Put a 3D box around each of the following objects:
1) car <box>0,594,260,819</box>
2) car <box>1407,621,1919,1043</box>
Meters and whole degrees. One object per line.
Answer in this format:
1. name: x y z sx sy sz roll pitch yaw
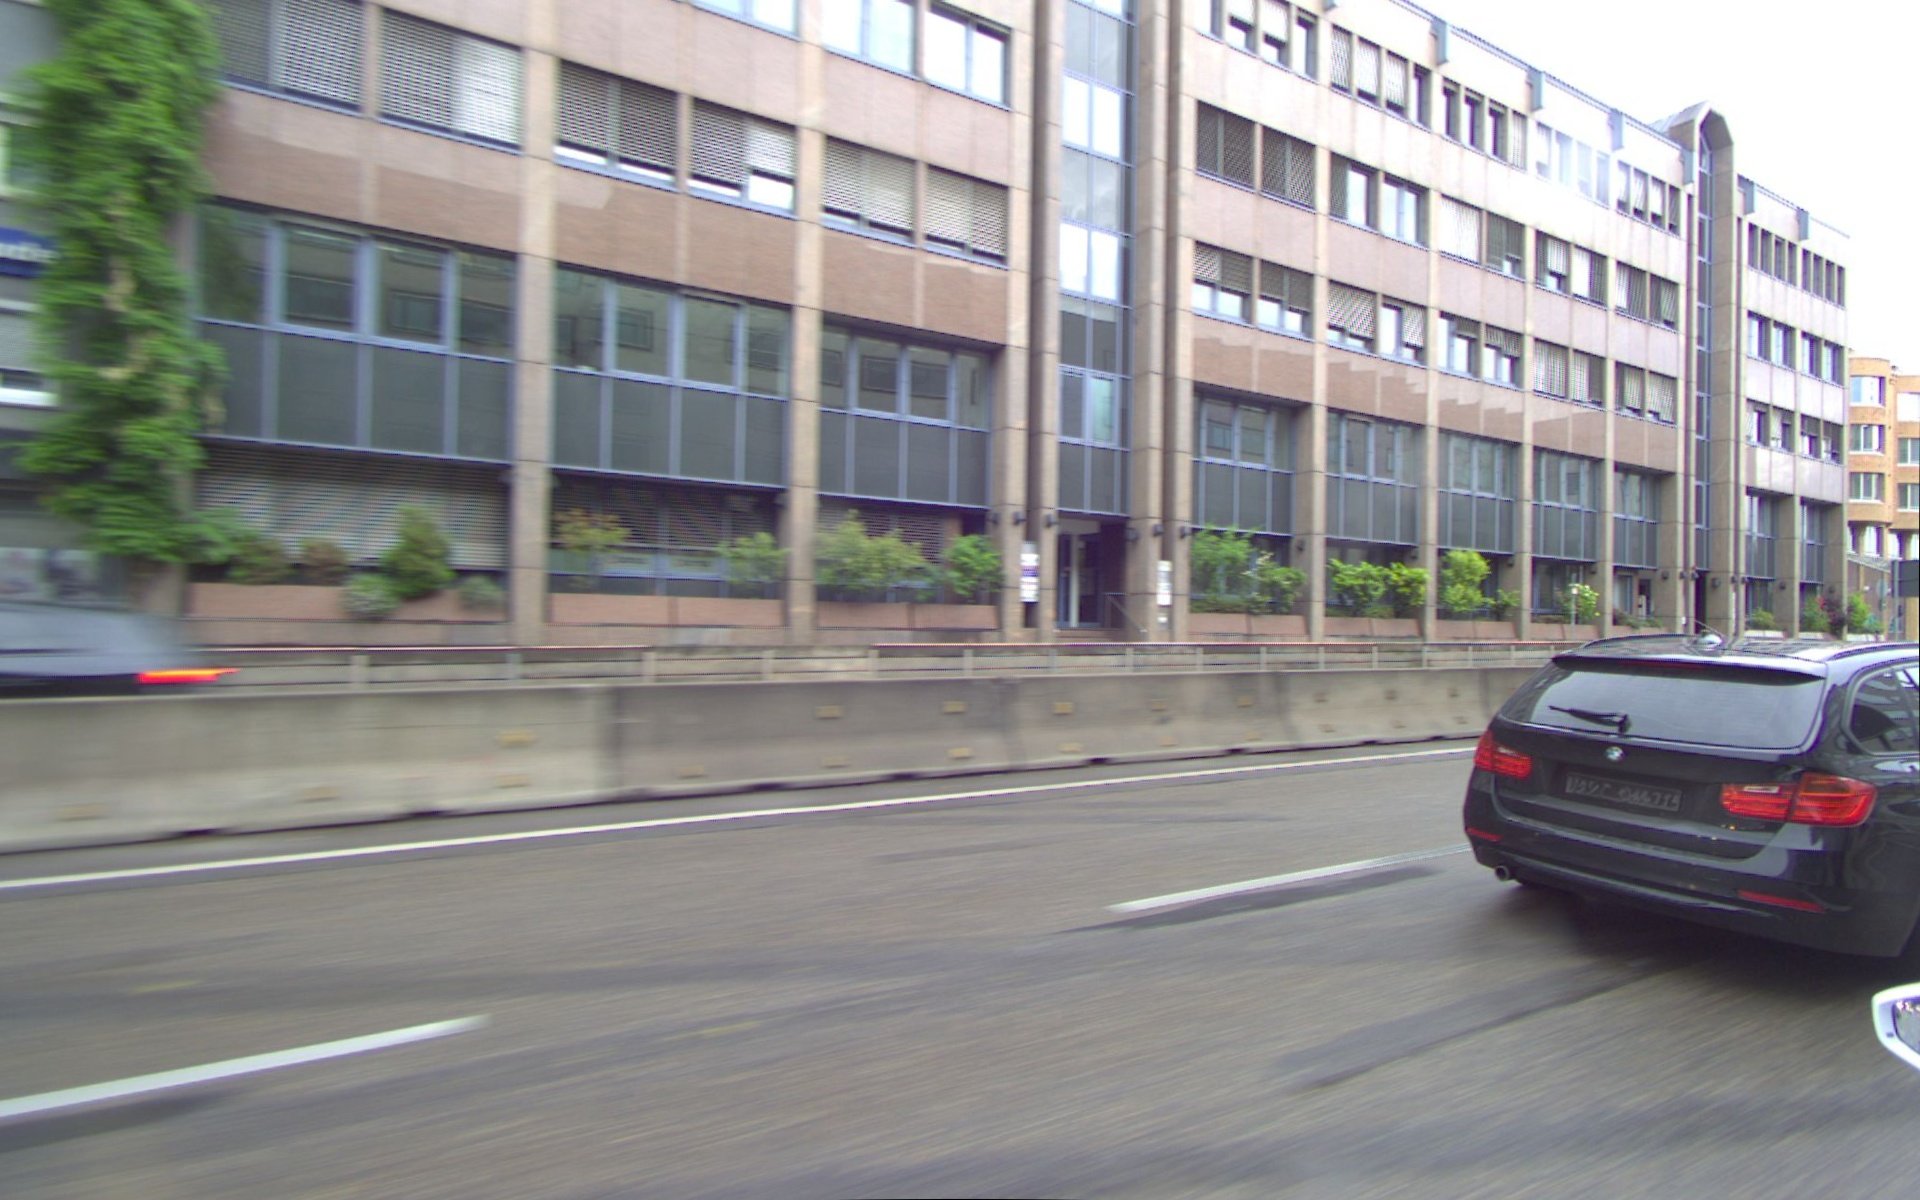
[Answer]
1. car: -7.735 0.736 7.306 4.183 1.553 1.851 1 -2 -32
2. car: 4.656 0.879 5.460 4.560 1.445 1.782 2 -1 -31
